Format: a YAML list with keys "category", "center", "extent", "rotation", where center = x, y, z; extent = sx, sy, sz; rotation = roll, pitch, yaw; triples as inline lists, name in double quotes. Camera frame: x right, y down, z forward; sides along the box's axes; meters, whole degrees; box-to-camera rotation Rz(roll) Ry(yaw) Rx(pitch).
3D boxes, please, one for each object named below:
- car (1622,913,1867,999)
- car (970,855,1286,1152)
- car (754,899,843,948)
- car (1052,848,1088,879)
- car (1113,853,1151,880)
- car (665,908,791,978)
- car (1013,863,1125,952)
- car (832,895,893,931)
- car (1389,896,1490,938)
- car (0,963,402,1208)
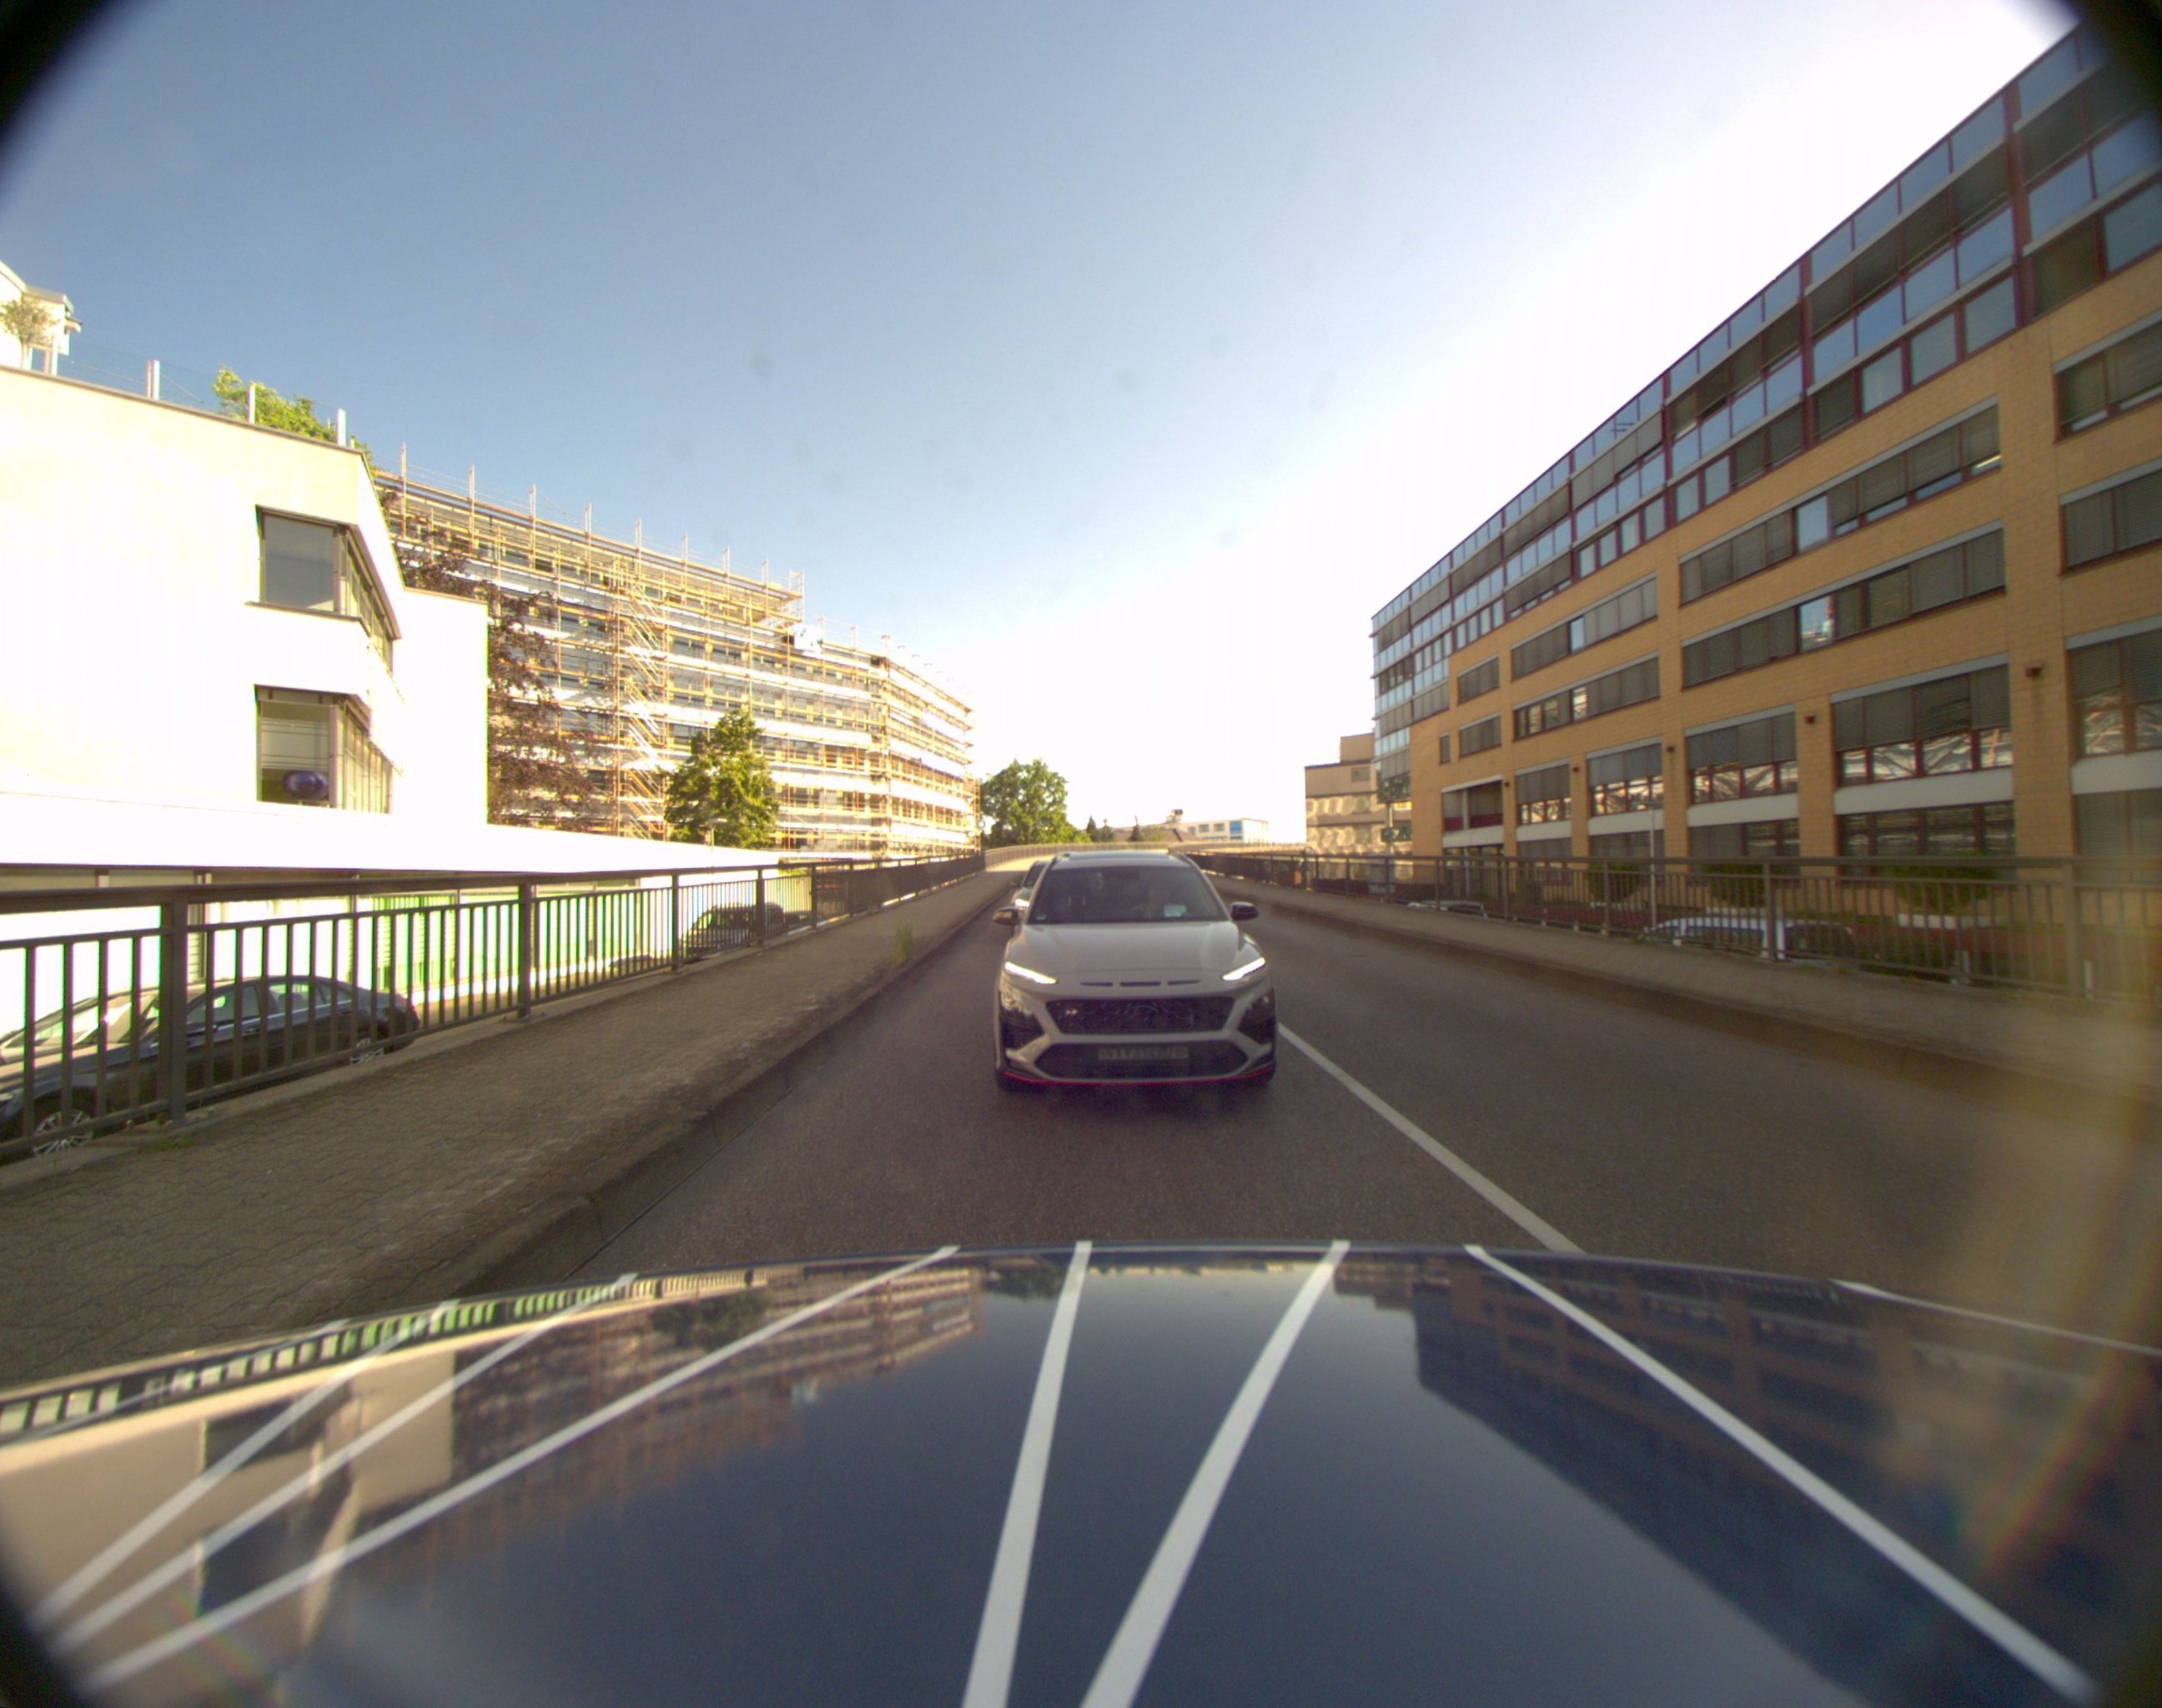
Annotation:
- category: "car"
  center: [13.031, 1.944, 15.271]
  extent: [1.580, 1.261, 3.809]
  rotation: [0, -1, -1]
- category: "car"
  center: [0.286, 0.856, 6.222]
  extent: [1.749, 1.637, 4.001]
  rotation: [0, -1, 1]
- category: "car"
  center: [-10.127, 2.465, 27.529]
  extent: [1.726, 1.383, 4.000]
  rotation: [-2, -1, -1]
- category: "car"
  center: [-0.630, 0.517, 44.501]
  extent: [1.952, 1.456, 3.998]
  rotation: [3, 3, -1]
- category: "car"
  center: [2.690, 0.632, 40.920]
  extent: [1.746, 1.399, 4.200]
  rotation: [0, 0, 0]
- category: "car"
  center: [-9.936, 2.459, 21.741]
  extent: [1.726, 1.513, 4.000]
  rotation: [-2, -1, -1]
- category: "car"
  center: [-0.251, 0.944, 15.010]
  extent: [1.902, 1.433, 4.126]
  rotation: [0, 0, -1]
- category: "car"
  center: [-10.263, 2.759, 35.989]
  extent: [1.726, 1.383, 4.000]
  rotation: [-2, -1, -1]
- category: "car"
  center: [12.706, 2.198, 27.177]
  extent: [1.766, 1.261, 3.809]
  rotation: [0, -1, -1]
- category: "car"
  center: [-9.603, 2.157, 7.731]
  extent: [1.726, 1.513, 4.001]
  rotation: [-2, -1, 1]
